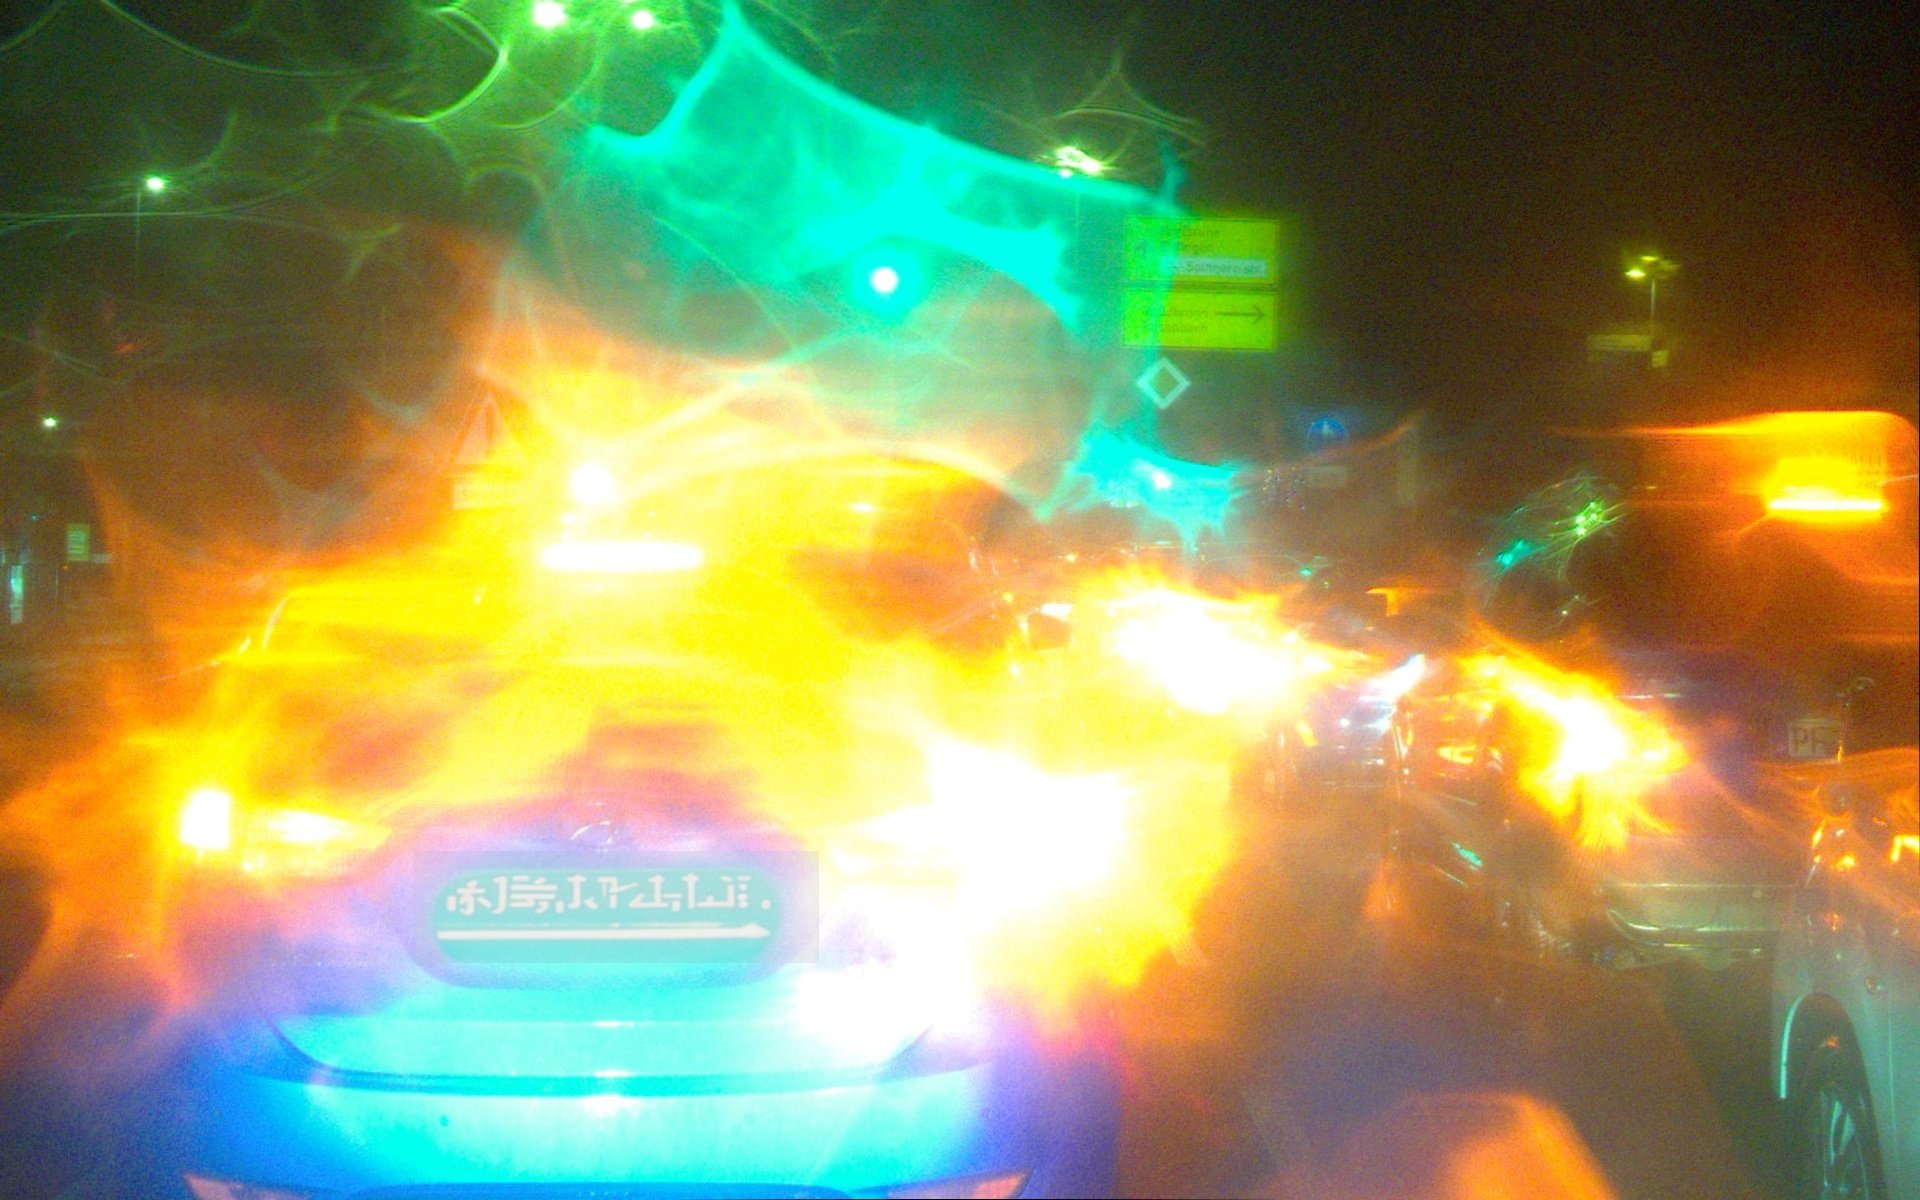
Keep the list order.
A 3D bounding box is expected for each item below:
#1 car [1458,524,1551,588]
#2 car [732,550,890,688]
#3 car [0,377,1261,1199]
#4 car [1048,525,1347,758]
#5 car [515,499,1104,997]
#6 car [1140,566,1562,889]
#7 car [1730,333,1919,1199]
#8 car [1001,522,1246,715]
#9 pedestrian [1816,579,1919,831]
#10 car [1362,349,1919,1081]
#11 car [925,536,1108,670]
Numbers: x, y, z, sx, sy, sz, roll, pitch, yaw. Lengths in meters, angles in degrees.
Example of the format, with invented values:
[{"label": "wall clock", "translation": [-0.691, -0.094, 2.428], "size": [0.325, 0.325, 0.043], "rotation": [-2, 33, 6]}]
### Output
[{"label": "car", "translation": [14.889, -1.200, 94.194], "size": [1.865, 1.641, 3.963], "rotation": [-2, 1, 0]}, {"label": "car", "translation": [-2.130, 0.238, 48.093], "size": [1.993, 1.818, 4.001], "rotation": [1, 1, -5]}, {"label": "car", "translation": [-0.602, 0.496, 7.692], "size": [2.014, 1.711, 4.452], "rotation": [1, 1, -2]}, {"label": "car", "translation": [1.778, 0.281, 26.987], "size": [1.993, 1.664, 4.000], "rotation": [1, 1, -1]}, {"label": "car", "translation": [-0.540, 0.489, 13.774], "size": [1.993, 1.678, 4.000], "rotation": [1, 1, -1]}, {"label": "car", "translation": [2.215, 0.670, 20.539], "size": [1.993, 1.712, 4.000], "rotation": [1, 1, -1]}, {"label": "car", "translation": [2.472, 0.522, 4.575], "size": [1.851, 1.858, 4.341], "rotation": [1, 1, -1]}, {"label": "car", "translation": [1.548, 0.153, 34.014], "size": [1.993, 1.767, 4.001], "rotation": [1, 1, -3]}, {"label": "pedestrian", "translation": [6.269, 0.710, 23.552], "size": [0.622, 1.696, 0.541], "rotation": [1, 0, -3]}, {"label": "car", "translation": [2.618, 0.312, 11.658], "size": [1.968, 2.040, 4.000], "rotation": [1, 0, -1]}, {"label": "car", "translation": [0.644, 0.019, 42.259], "size": [1.857, 1.539, 3.931], "rotation": [1, 1, -5]}]
